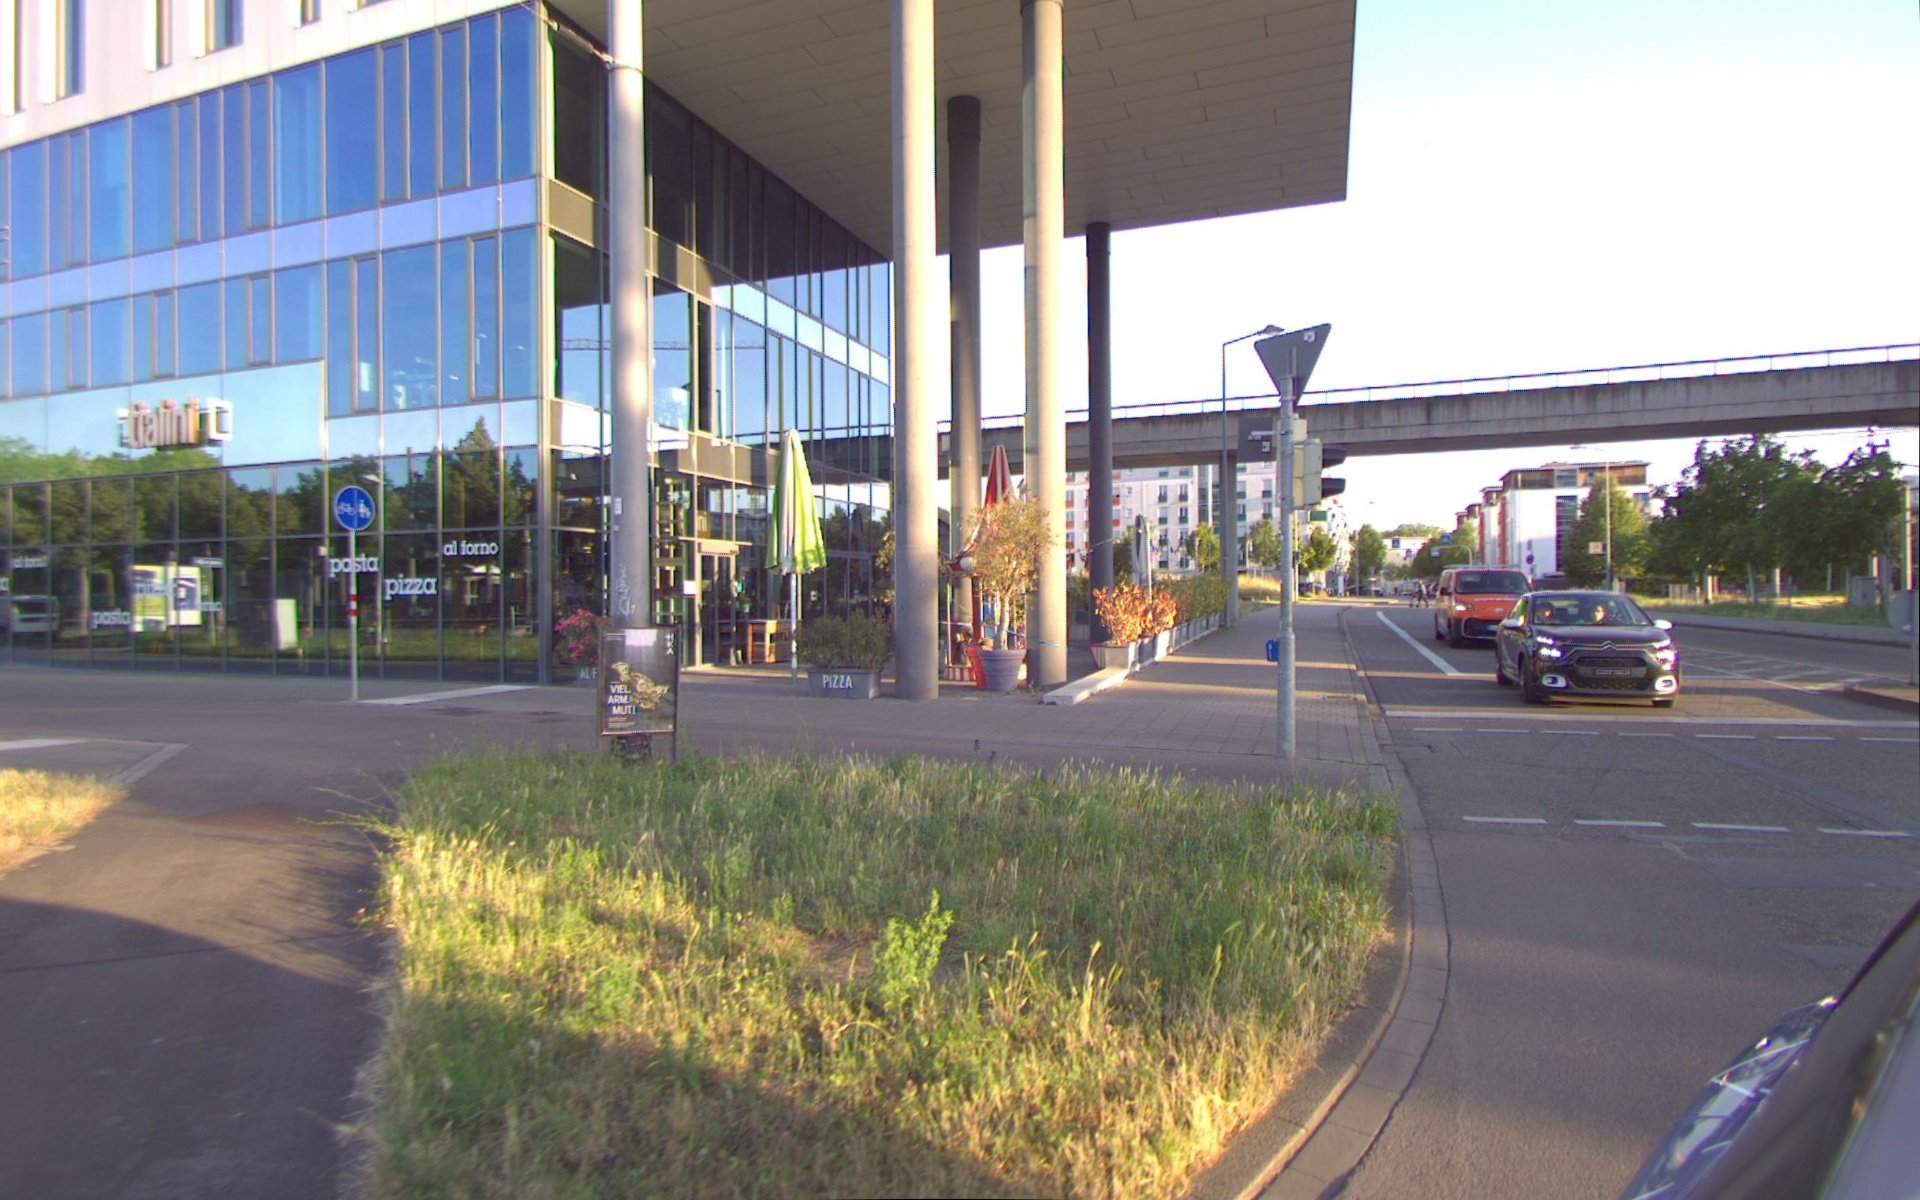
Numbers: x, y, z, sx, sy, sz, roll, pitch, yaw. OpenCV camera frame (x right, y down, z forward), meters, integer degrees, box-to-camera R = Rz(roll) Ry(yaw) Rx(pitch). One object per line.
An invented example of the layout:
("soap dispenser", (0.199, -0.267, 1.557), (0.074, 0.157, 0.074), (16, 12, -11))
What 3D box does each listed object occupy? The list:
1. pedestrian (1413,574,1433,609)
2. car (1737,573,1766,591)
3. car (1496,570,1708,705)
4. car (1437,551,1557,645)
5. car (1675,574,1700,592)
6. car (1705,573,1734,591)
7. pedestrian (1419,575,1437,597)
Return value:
("pedestrian", (27.731, -0.520, 60.581), (0.953, 2.039, 0.621), (-1, 1, 40))
("car", (77.588, -1.791, 99.249), (1.859, 1.742, 3.800), (-1, 1, 33))
("car", (8.639, 0.418, 13.976), (1.740, 1.571, 4.042), (-1, 0, 22))
("car", (12.901, -0.064, 24.614), (1.908, 2.016, 4.789), (-2, 0, 21))
("car", (73.194, -1.721, 101.811), (1.859, 1.742, 3.799), (-1, 1, 33))
("car", (75.392, -1.757, 100.458), (1.857, 1.742, 3.803), (-1, 1, 31))
("pedestrian", (44.334, -1.318, 95.840), (1.119, 2.039, 1.090), (-2, 1, -39))
